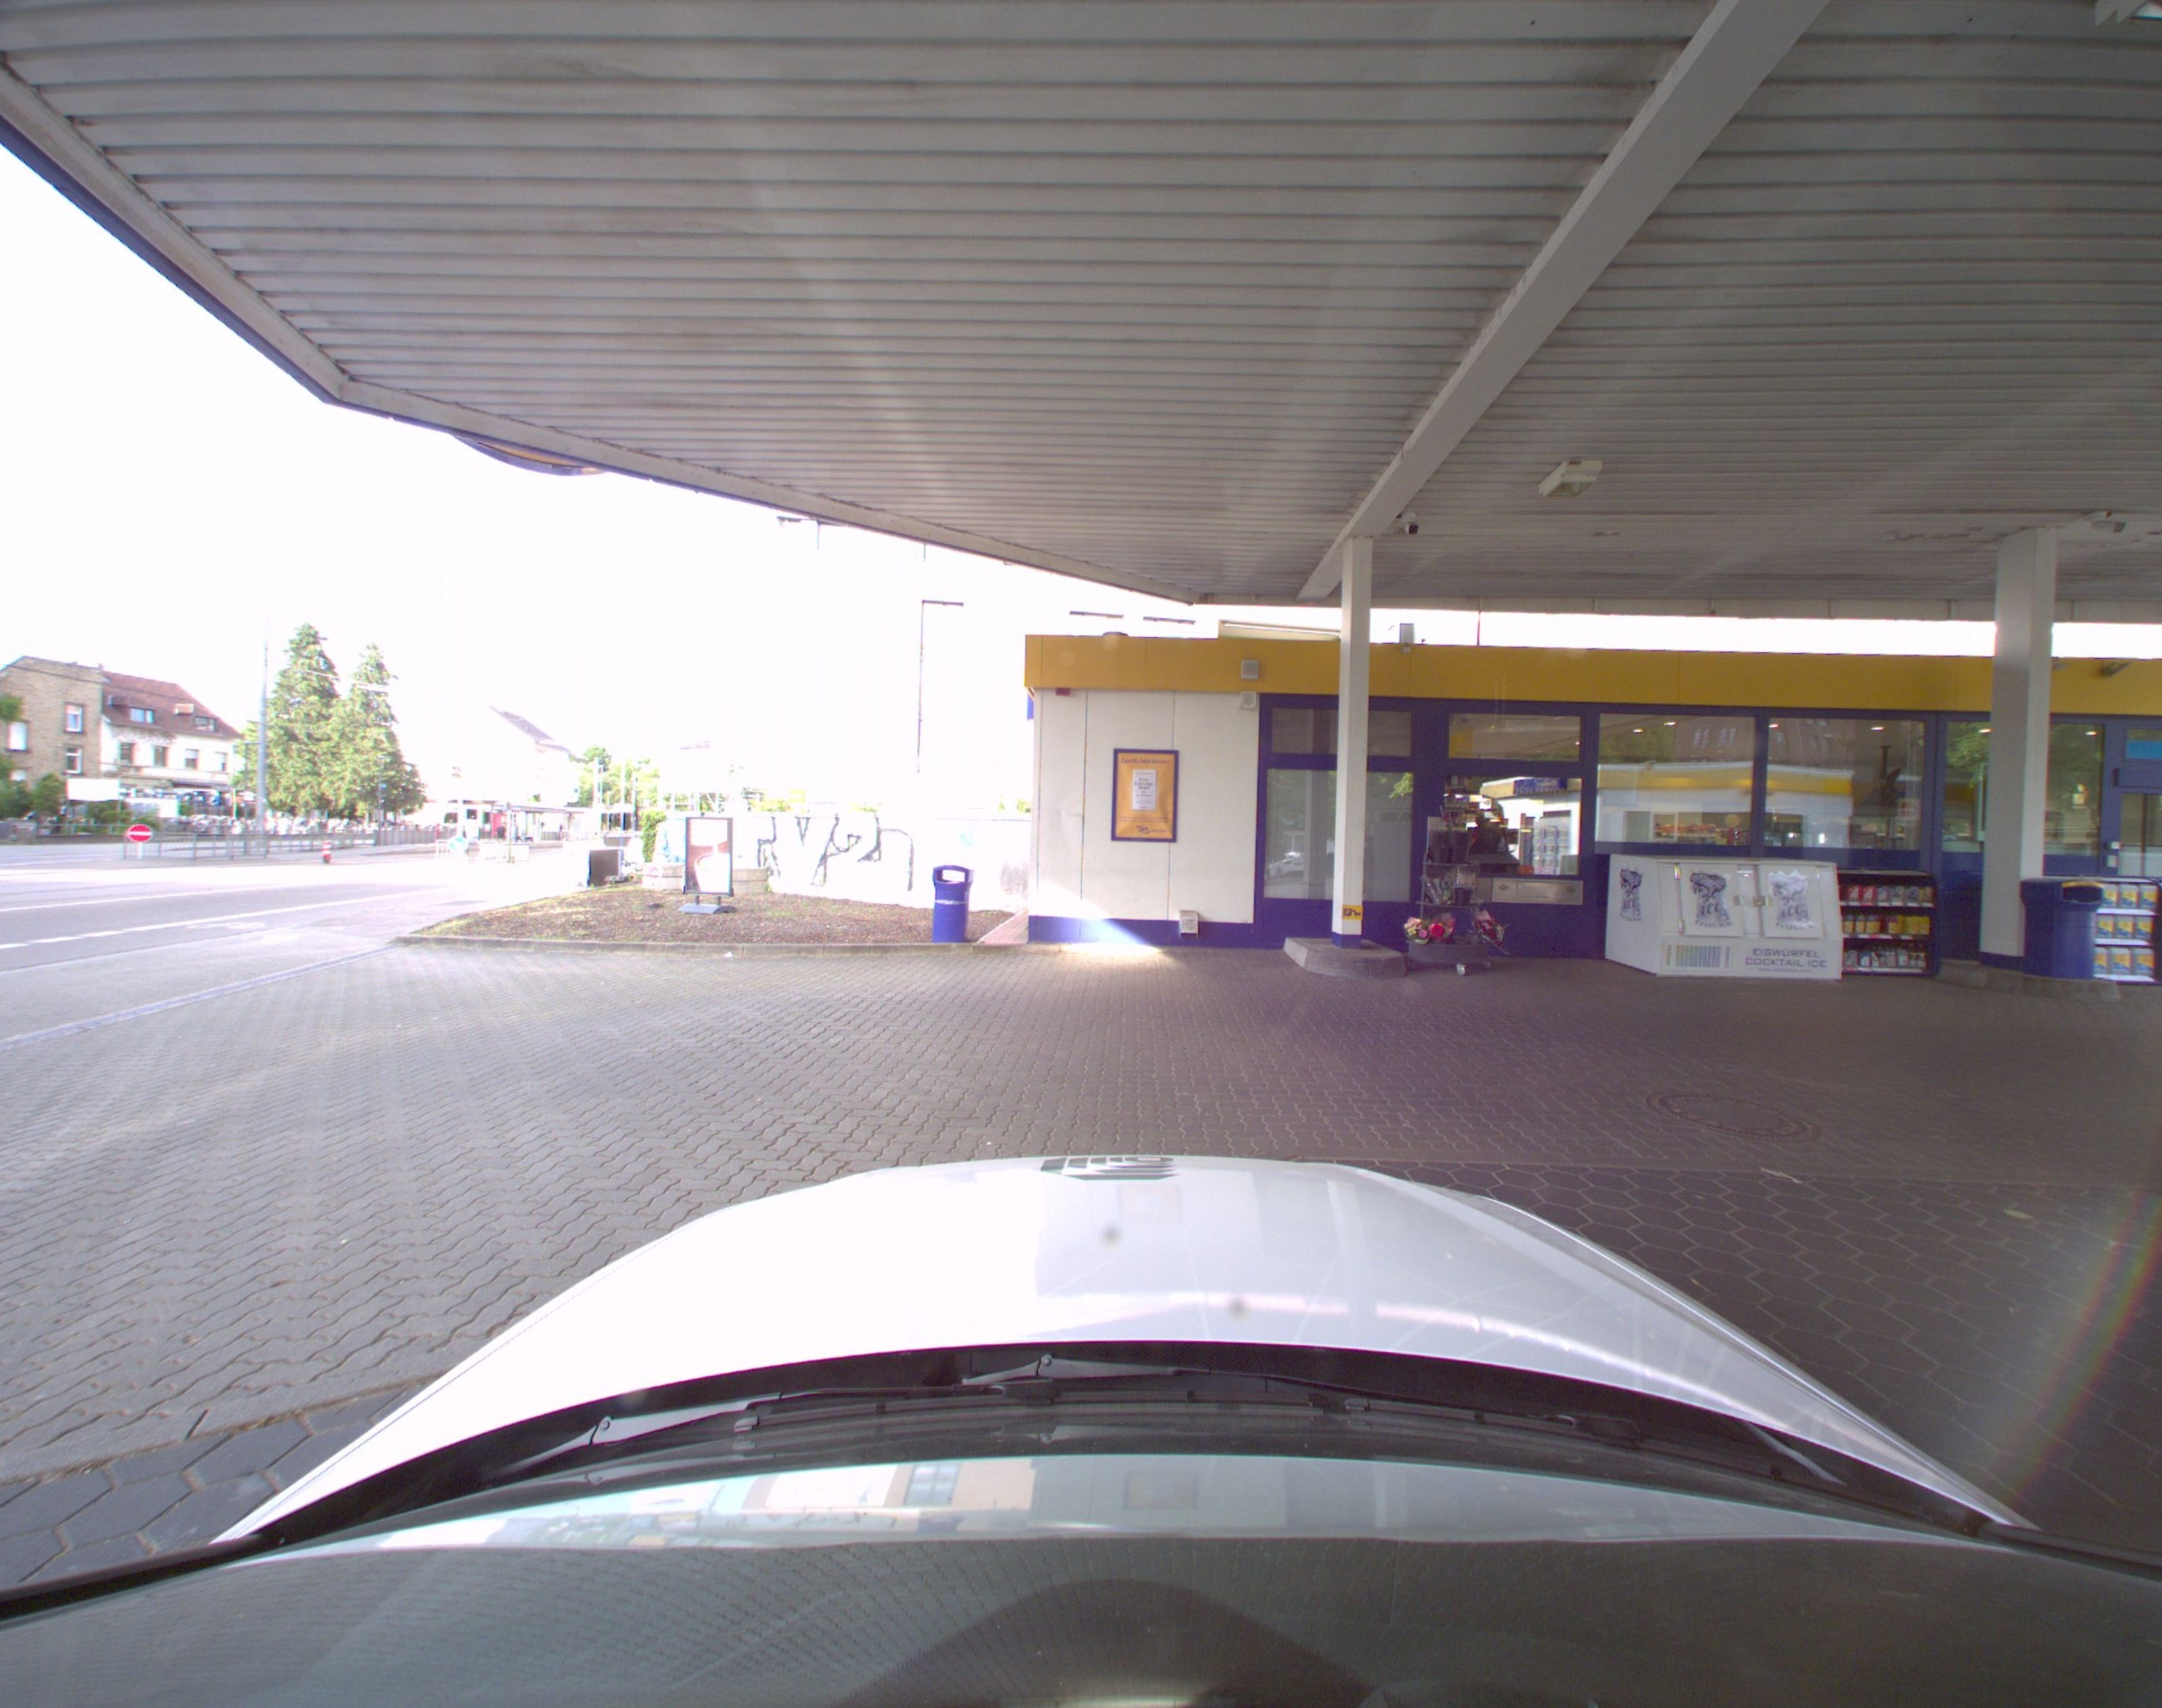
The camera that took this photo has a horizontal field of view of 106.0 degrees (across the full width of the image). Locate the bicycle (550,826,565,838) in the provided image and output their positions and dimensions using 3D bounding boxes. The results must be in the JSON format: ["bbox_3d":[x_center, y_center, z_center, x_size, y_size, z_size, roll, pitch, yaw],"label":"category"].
[{"bbox_3d":[-51.764,-2.157,80.490,0.680,1.222,1.909,0,1,-16],"label":"bicycle"}]

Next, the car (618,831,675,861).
[{"bbox_3d":[-23.407,-0.479,44.009,1.756,1.476,3.981,3,1,-14],"label":"car"}]

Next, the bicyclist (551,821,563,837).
[{"bbox_3d":[-51.752,-2.477,80.491,0.680,1.534,1.080,0,1,-16],"label":"bicyclist"}]

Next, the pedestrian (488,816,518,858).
[{"bbox_3d":[-27.682,-0.810,39.033,0.802,2.014,0.852,0,-1,7],"label":"pedestrian"}]
